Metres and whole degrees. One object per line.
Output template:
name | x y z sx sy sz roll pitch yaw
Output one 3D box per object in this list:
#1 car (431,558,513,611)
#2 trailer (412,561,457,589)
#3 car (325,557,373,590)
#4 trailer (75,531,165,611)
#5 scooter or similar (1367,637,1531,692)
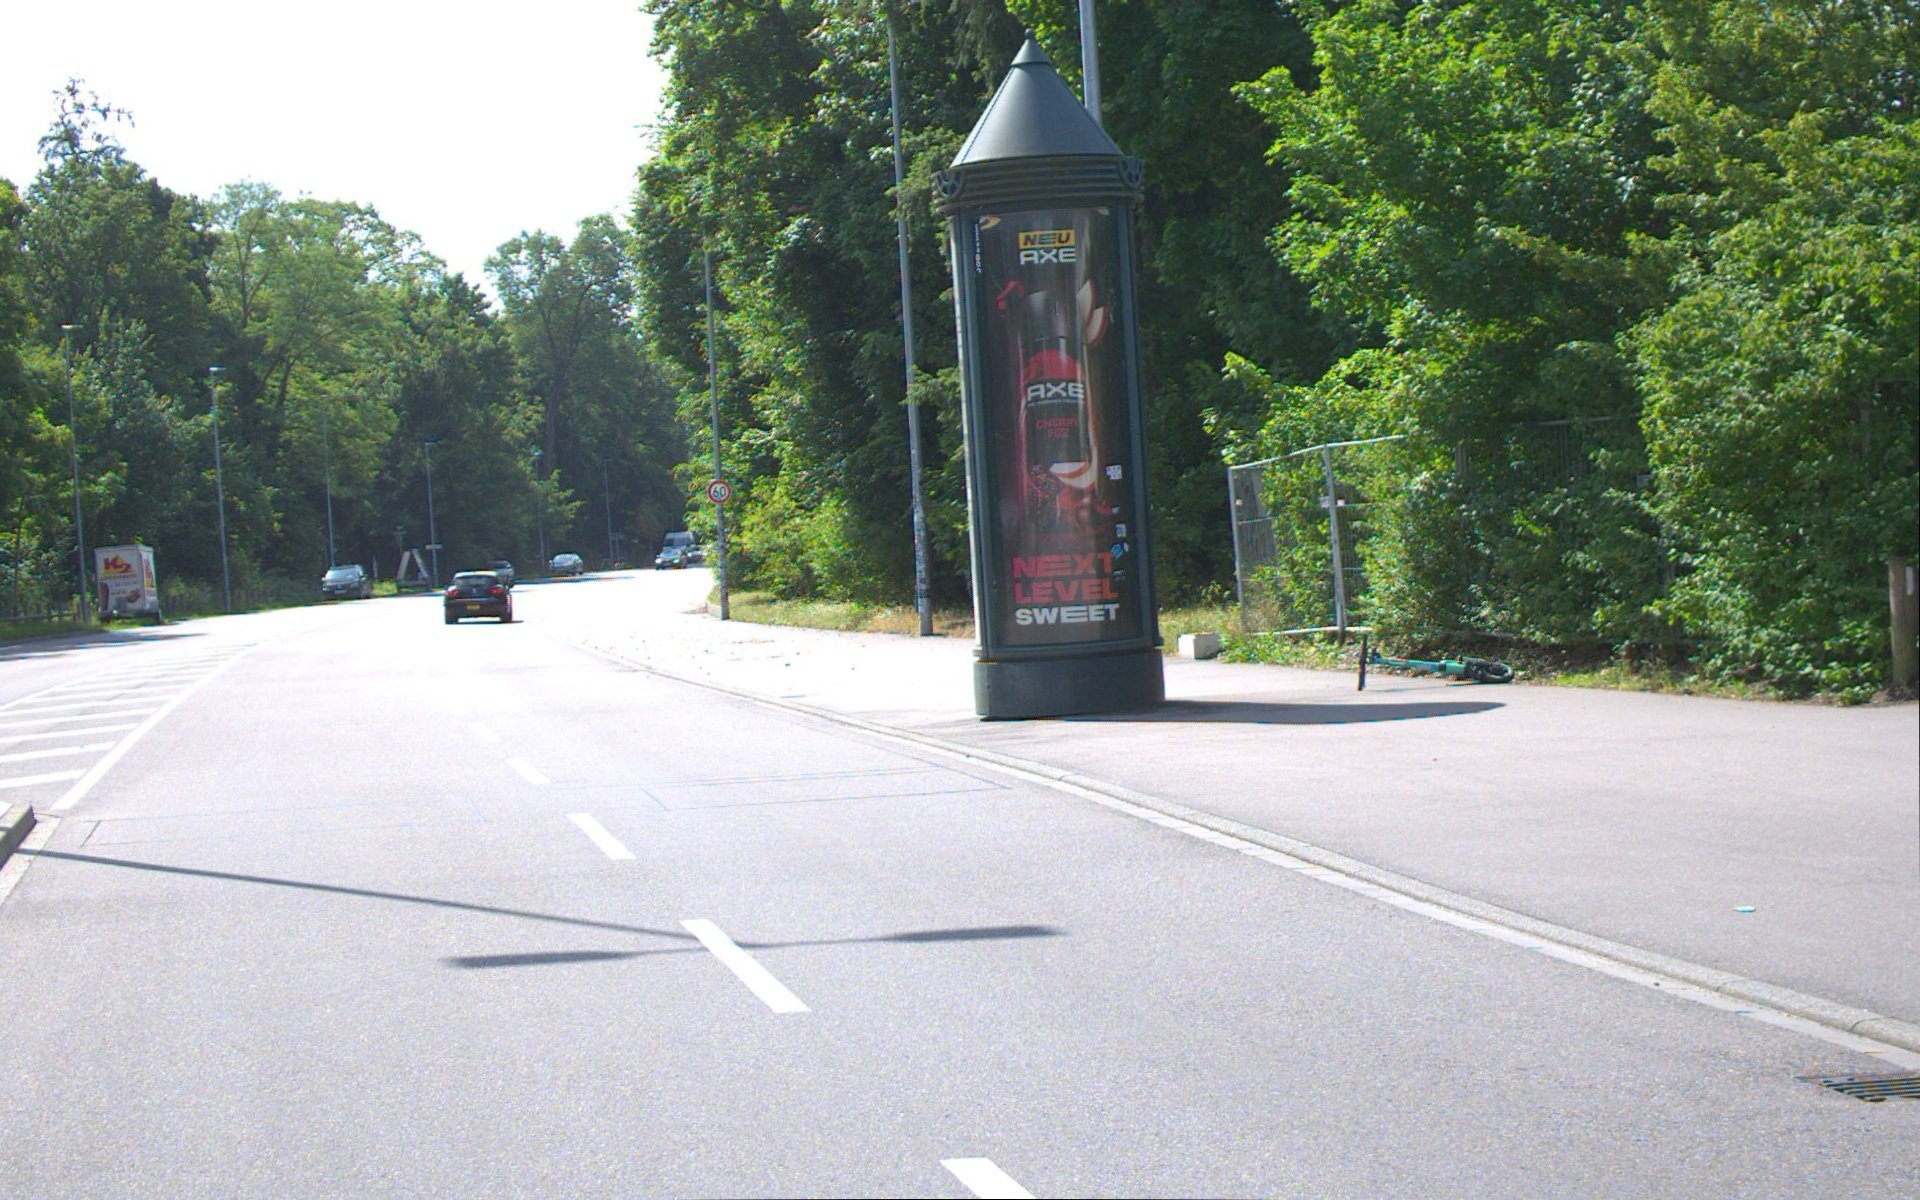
car | -13.575 -0.458 95.860 1.597 1.373 3.976 -2 1 1
trailer | -27.542 -1.324 180.126 1.716 1.350 3.732 -2 1 0
car | -27.949 -1.213 157.278 1.503 1.441 3.529 -2 1 1
trailer | -26.444 -0.926 108.285 1.993 2.380 4.001 -3 1 -4
scooter or similar | 3.998 0.526 28.227 0.852 0.387 1.474 2 0 -13
